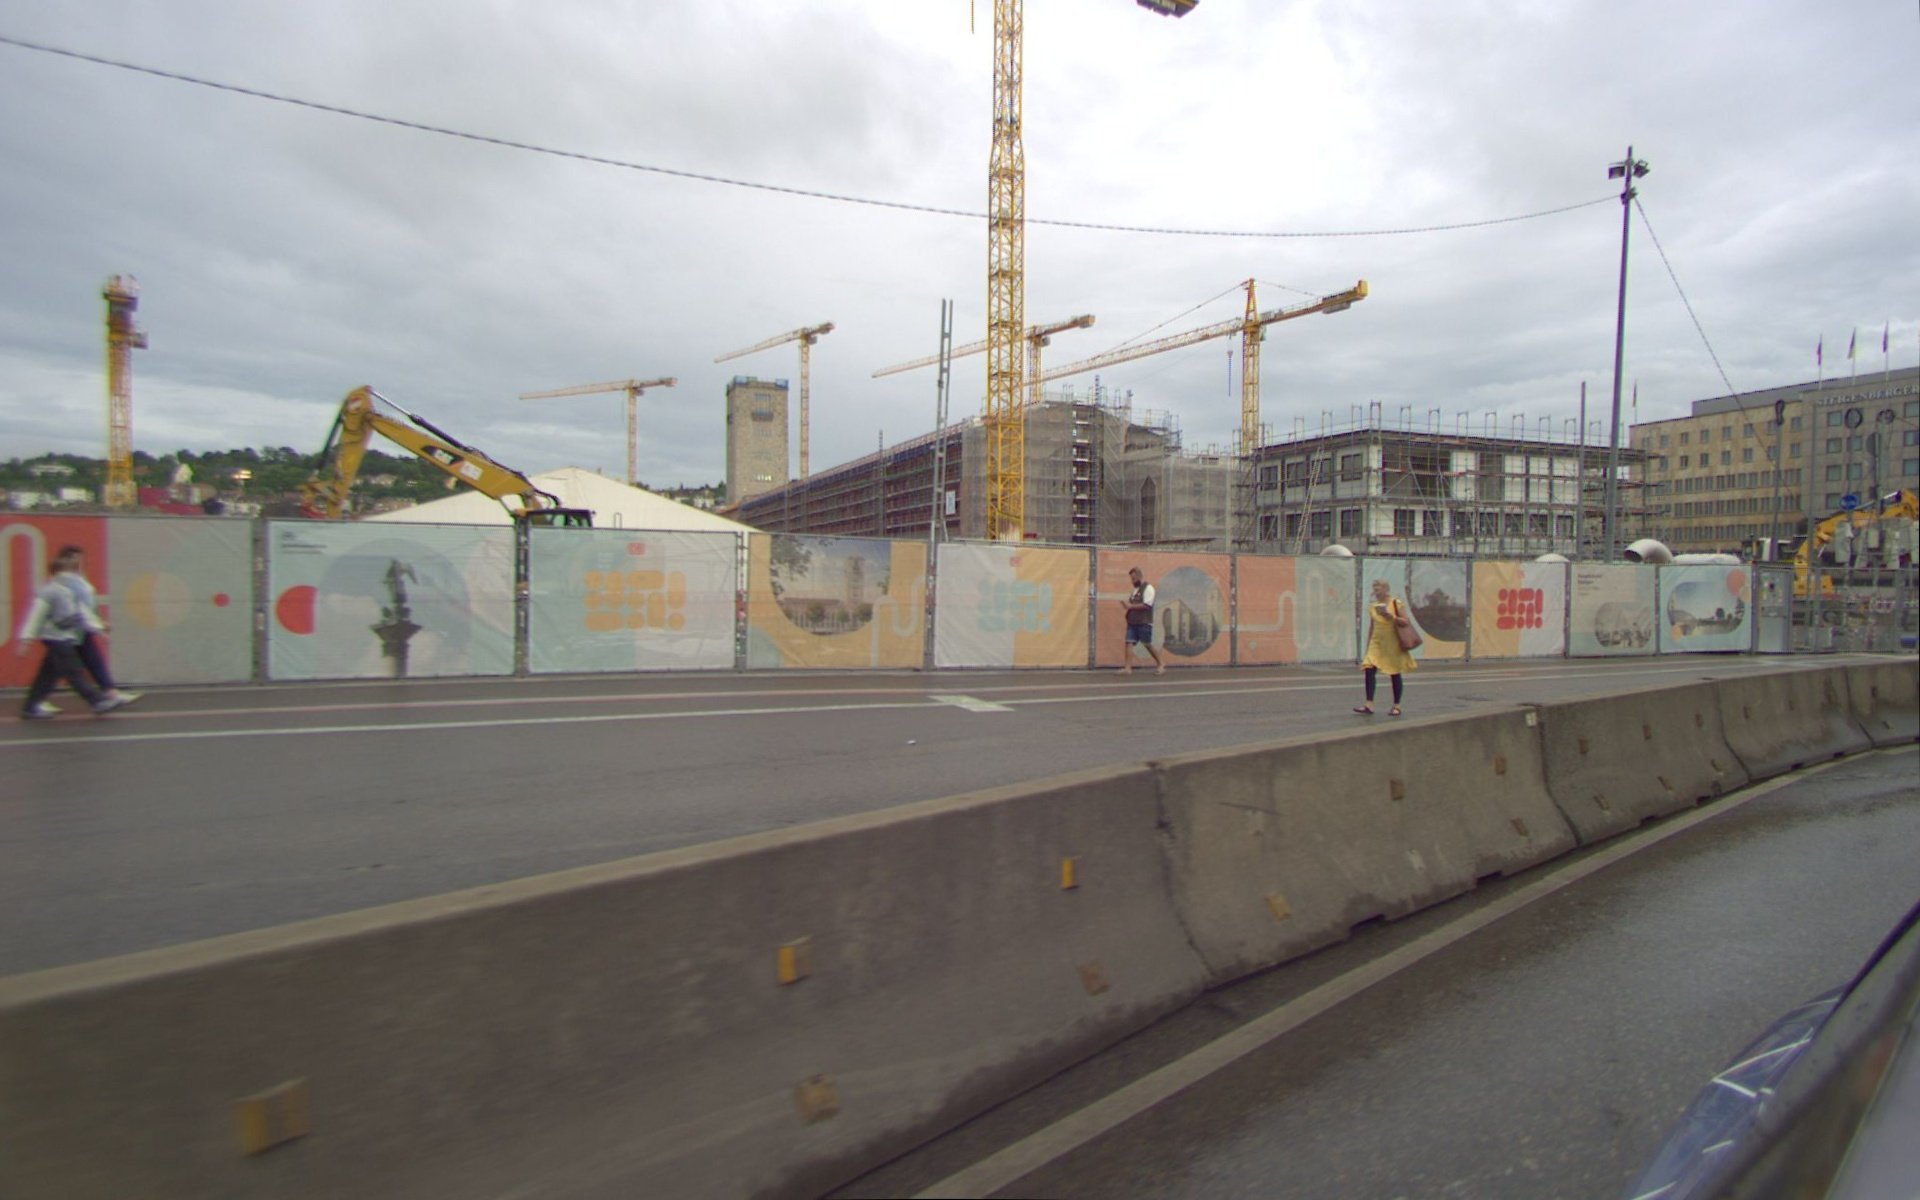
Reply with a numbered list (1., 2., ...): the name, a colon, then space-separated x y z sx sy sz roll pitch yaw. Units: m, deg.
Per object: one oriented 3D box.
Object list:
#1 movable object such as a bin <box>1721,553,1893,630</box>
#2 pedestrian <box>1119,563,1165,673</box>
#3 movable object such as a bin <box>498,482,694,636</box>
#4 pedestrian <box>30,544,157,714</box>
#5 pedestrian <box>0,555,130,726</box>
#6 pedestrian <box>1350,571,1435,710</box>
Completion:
1. movable object such as a bin: 29.512 -0.320 35.409 4.065 2.567 1.993 1 1 13
2. pedestrian: 2.967 0.284 16.544 0.485 1.770 0.569 0 1 -25
3. movable object such as a bin: -8.859 -0.953 24.730 4.151 3.451 1.943 0 1 -36
4. pedestrian: -8.811 0.278 10.322 0.750 1.676 0.650 0 1 -7
5. pedestrian: -8.547 0.365 9.646 0.750 1.572 0.650 0 1 -7
6. pedestrian: 5.352 0.470 12.515 0.892 1.653 0.648 0 1 -43
